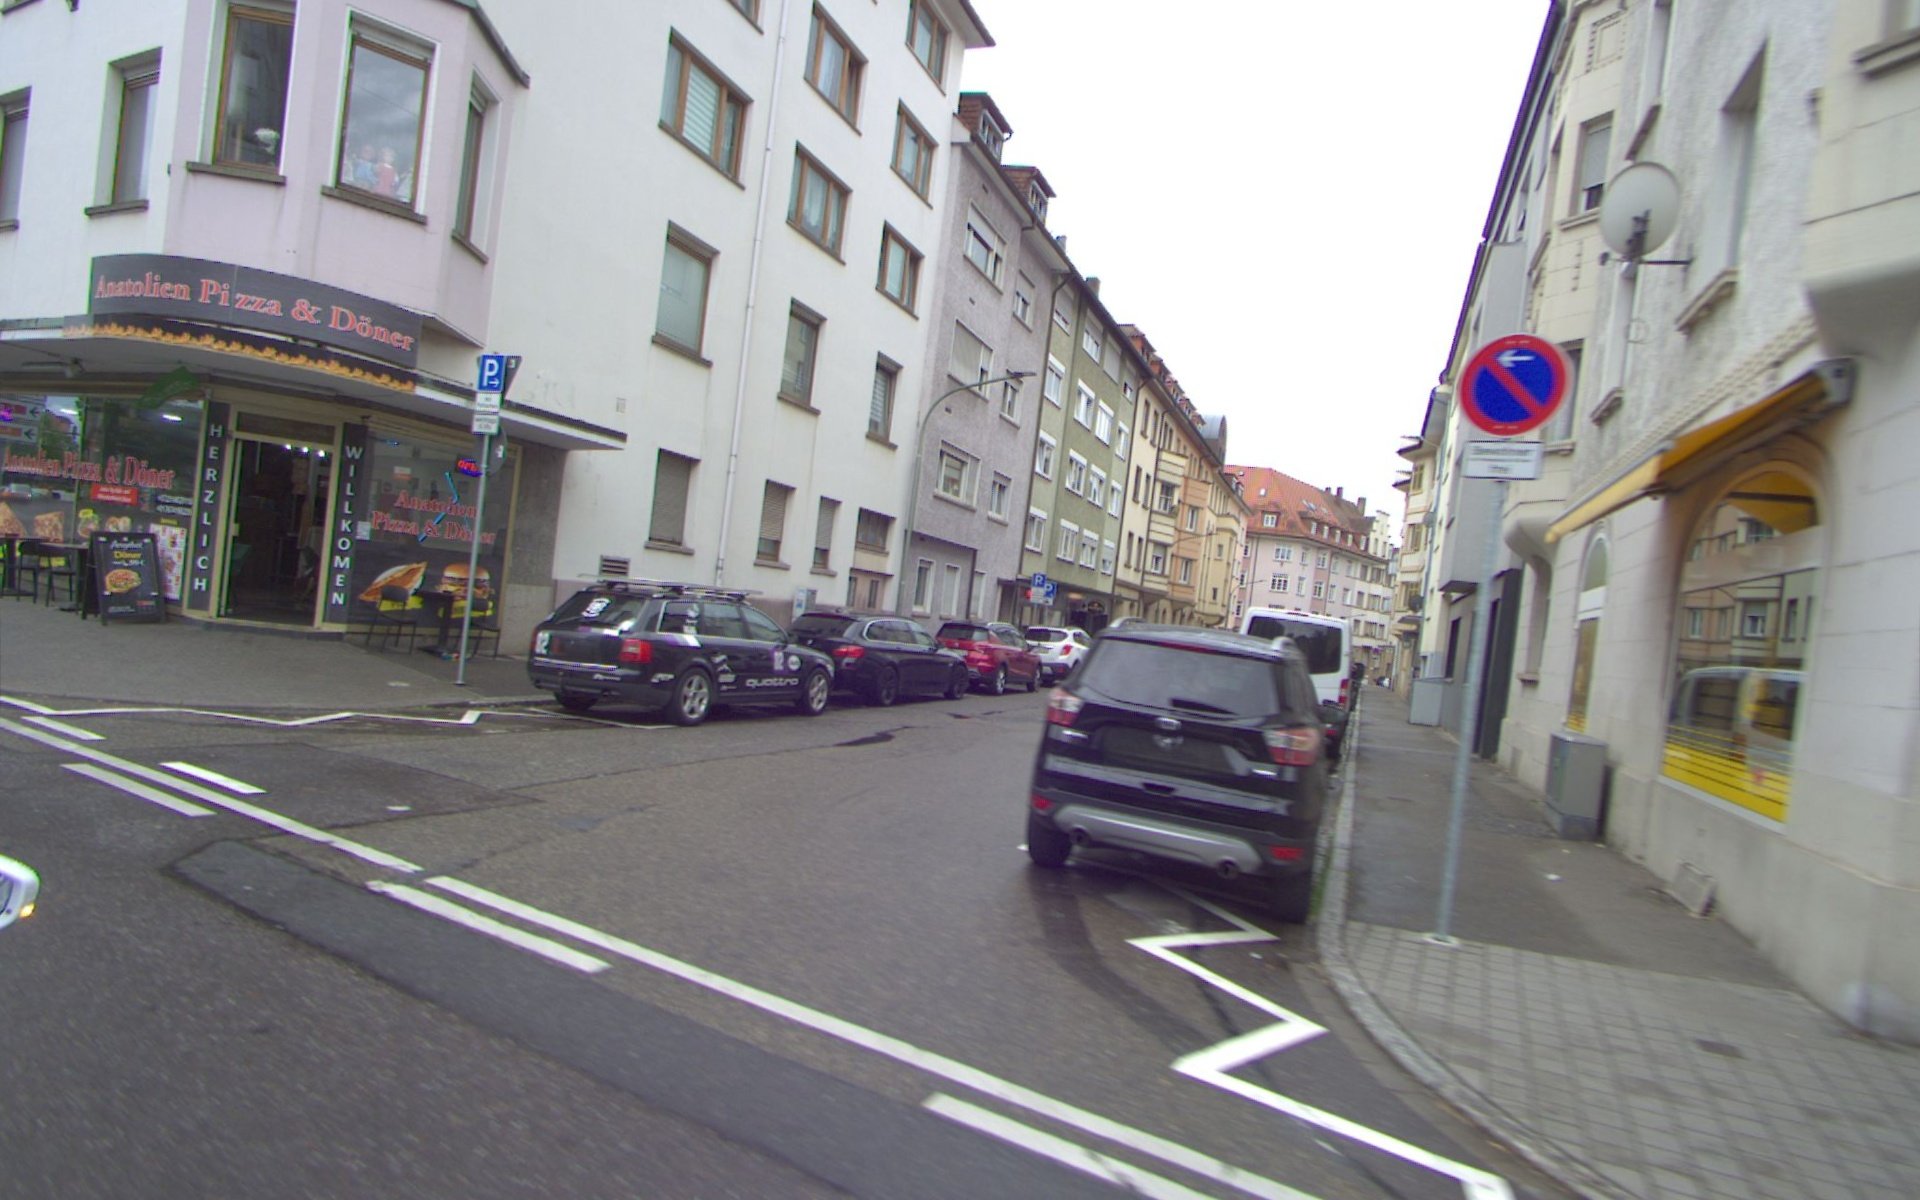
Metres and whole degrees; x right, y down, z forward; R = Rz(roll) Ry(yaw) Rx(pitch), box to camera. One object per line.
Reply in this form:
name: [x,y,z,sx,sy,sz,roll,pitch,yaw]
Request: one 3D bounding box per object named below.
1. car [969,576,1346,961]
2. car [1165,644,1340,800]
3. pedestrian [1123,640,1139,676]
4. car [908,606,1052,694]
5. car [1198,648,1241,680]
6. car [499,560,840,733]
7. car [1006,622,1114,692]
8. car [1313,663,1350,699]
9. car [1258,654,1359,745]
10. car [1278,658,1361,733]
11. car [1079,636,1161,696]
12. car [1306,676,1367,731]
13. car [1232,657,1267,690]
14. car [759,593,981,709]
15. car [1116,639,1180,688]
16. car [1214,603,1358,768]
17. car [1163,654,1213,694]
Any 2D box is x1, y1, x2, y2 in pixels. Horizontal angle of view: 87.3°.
car: [1.768,1.012,7.483,1.839,1.793,4.153,8,-1,22]
car: [3.928,1.479,13.091,1.747,1.508,3.697,6,-1,21]
pedestrian: [8.256,2.801,48.553,0.513,1.661,0.500,7,-2,18]
car: [0.562,1.176,22.723,1.874,1.597,3.903,6,-2,21]
car: [15.339,3.798,59.242,1.874,1.597,3.903,6,-2,21]
car: [-3.300,0.588,12.367,1.773,1.626,4.121,5,-2,21]
car: [2.853,1.605,27.953,1.874,1.597,3.903,6,-2,21]
car: [24.691,5.373,66.791,1.963,2.037,4.001,7,-1,22]
car: [8.115,2.256,23.308,1.874,1.710,3.559,6,-2,21]
car: [10.044,2.632,28.048,1.874,1.710,3.903,6,-2,21]
car: [5.654,2.338,35.174,1.874,1.759,3.903,6,-2,21]
car: [14.100,3.819,37.706,1.874,1.710,3.904,6,-2,21]
car: [20.392,5.166,70.861,1.963,2.037,4.002,7,-1,19]
car: [-1.368,0.888,17.485,1.838,1.552,4.632,6,-1,21]
car: [7.391,2.509,39.338,1.635,1.610,3.755,6,-2,21]
car: [6.105,1.538,18.521,1.979,2.432,4.739,6,-2,21]
car: [10.919,3.547,47.967,1.635,1.610,3.755,6,-2,21]
